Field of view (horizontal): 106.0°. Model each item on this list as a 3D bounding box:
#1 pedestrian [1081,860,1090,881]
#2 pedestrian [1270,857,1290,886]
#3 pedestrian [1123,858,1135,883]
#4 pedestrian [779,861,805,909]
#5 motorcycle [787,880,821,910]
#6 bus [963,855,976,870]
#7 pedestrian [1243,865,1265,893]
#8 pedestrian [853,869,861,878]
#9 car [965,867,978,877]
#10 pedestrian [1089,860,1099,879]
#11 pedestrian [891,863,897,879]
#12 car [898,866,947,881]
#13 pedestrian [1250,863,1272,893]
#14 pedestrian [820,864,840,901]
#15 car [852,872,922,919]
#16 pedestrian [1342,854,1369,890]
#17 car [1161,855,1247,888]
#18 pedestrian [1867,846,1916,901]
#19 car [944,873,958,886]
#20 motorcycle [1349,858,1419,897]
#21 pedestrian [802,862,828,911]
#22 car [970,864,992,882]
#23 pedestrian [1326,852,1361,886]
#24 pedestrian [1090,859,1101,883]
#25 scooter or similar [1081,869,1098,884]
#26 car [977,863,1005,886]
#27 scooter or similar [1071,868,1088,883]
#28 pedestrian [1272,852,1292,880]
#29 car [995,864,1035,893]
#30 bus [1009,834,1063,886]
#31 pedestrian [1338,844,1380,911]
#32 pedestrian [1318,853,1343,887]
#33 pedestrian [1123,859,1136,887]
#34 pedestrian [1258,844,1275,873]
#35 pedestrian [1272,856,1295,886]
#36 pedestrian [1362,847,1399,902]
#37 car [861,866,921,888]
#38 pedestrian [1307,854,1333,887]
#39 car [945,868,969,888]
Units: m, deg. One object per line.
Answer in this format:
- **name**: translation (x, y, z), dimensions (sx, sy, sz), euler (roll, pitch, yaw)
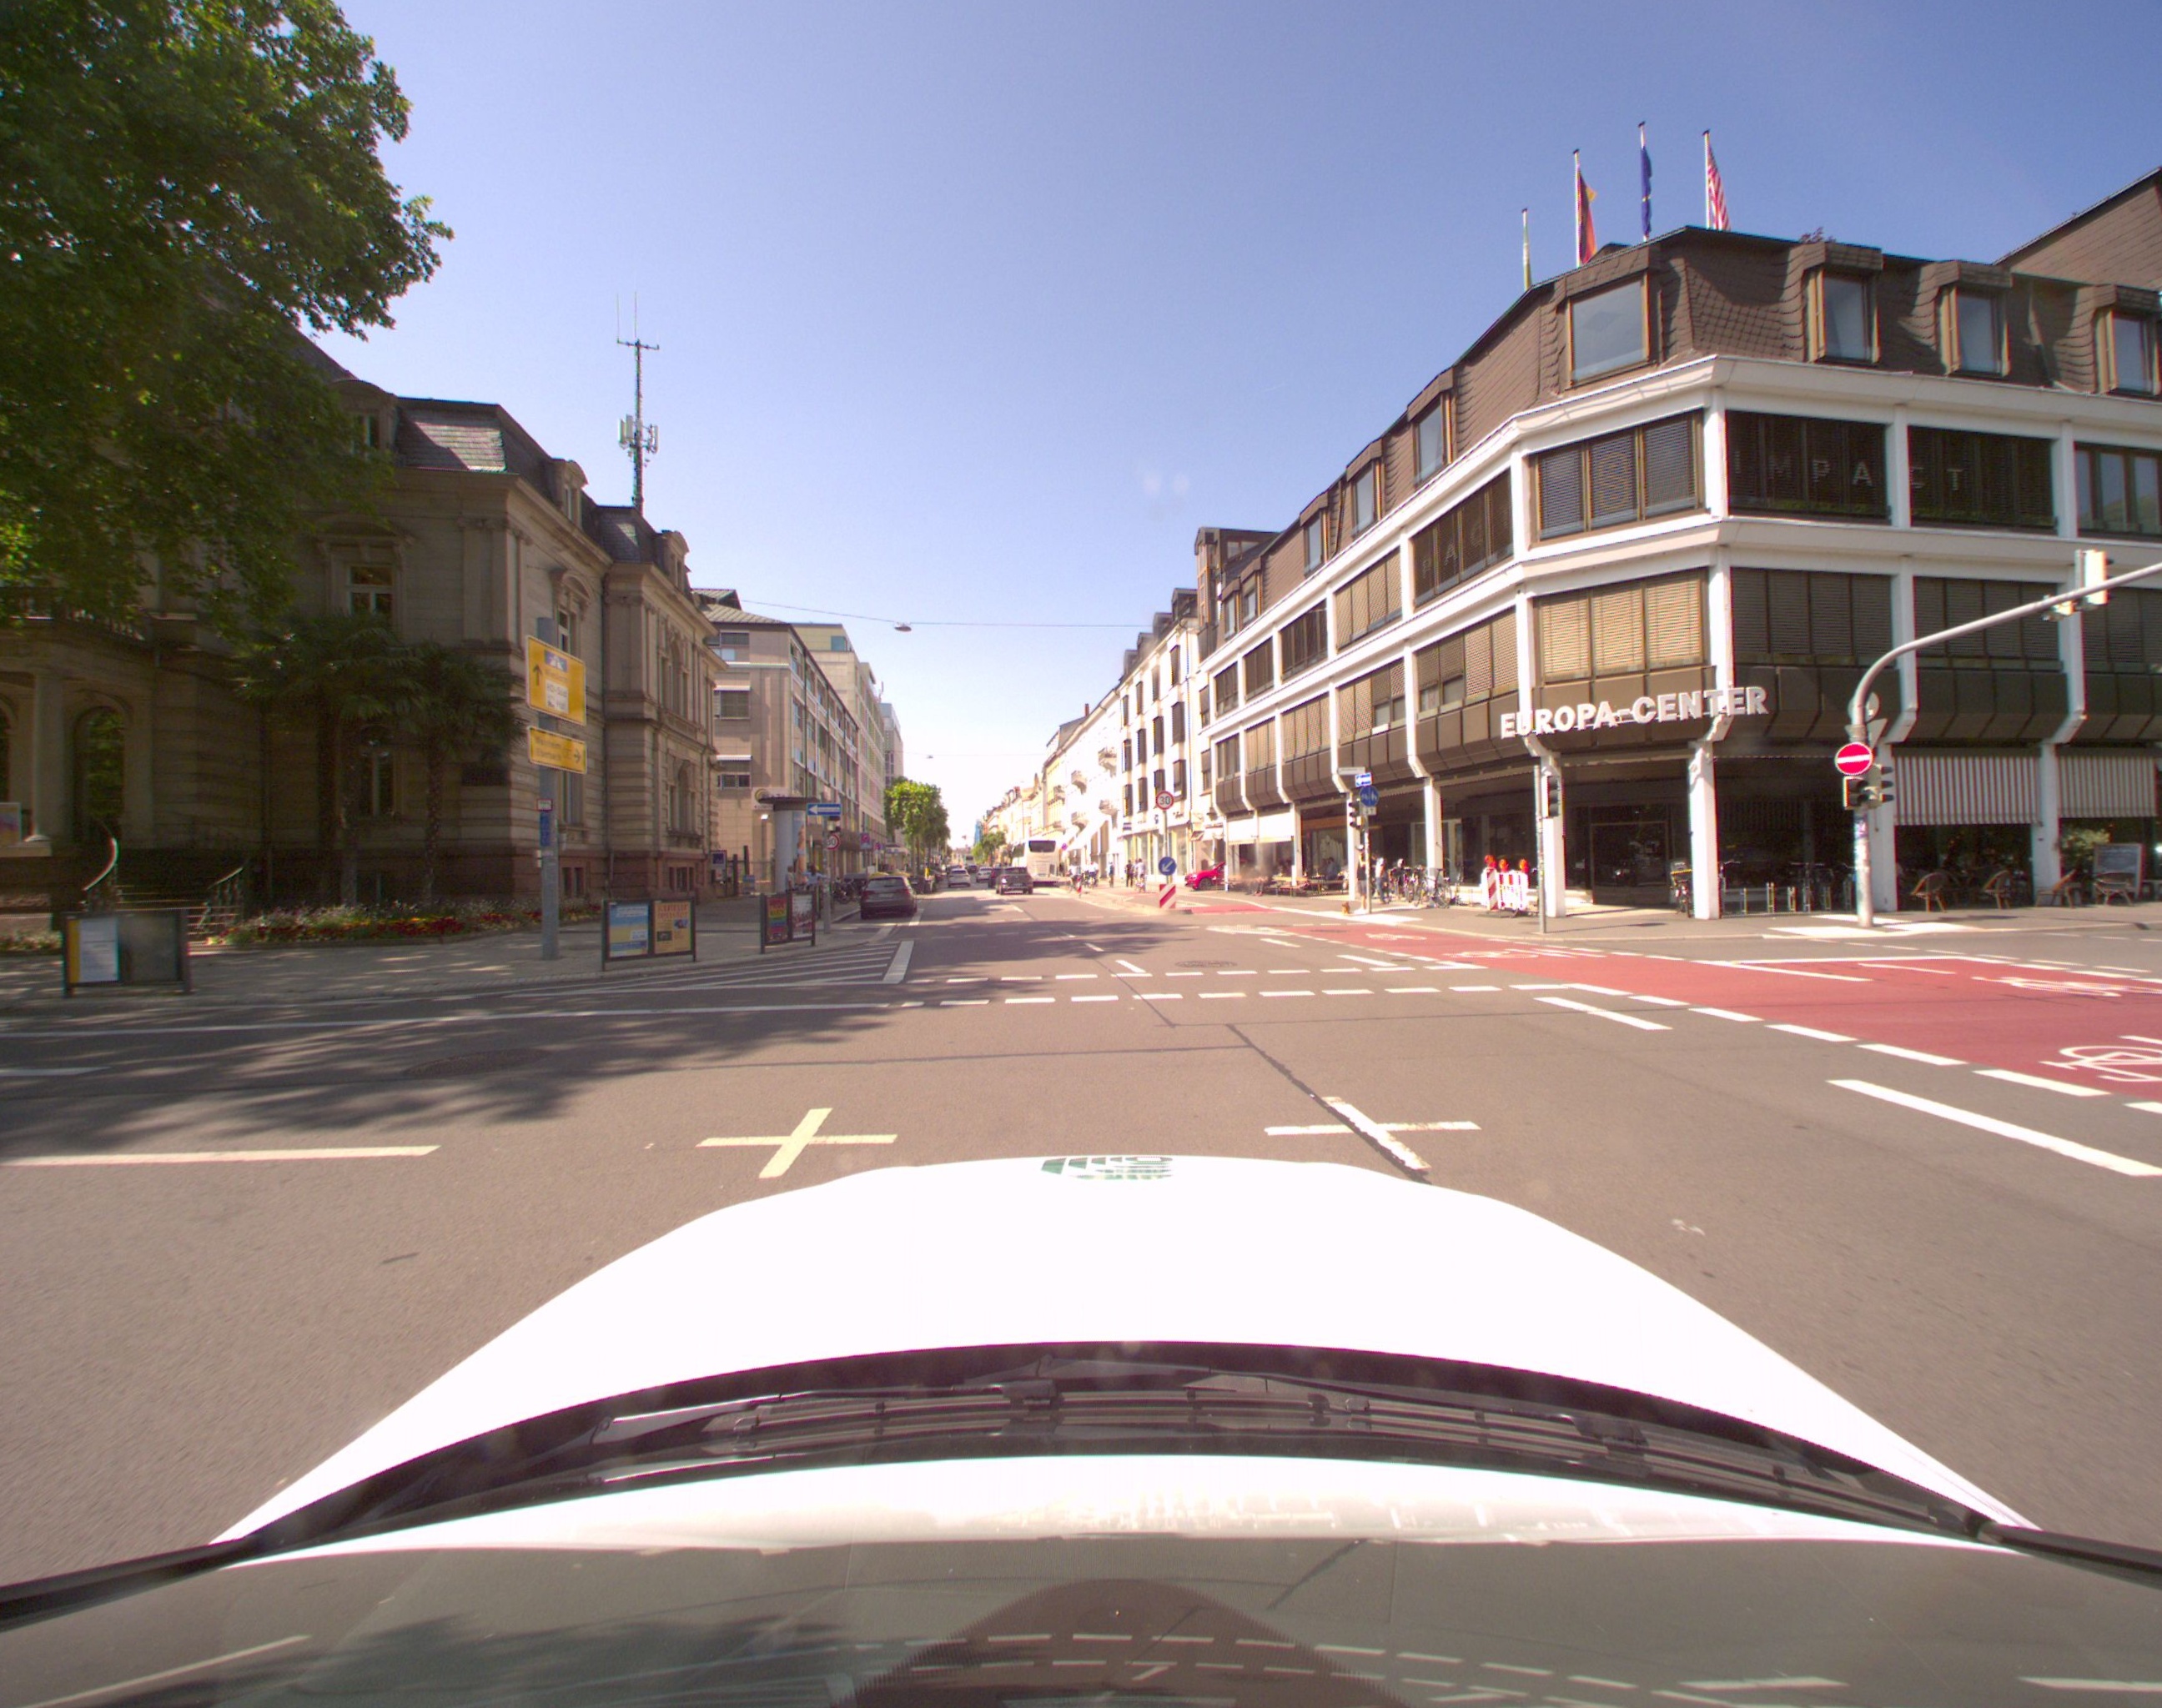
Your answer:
- **pedestrian**: translation (0.395, 1.427, 68.851), dimensions (0.573, 1.779, 1.017), euler (-1, -2, -6)
- **pedestrian**: translation (9.624, 0.829, 39.364), dimensions (0.761, 1.368, 0.476), euler (-1, -1, -11)
- **pedestrian**: translation (3.252, 1.098, 55.023), dimensions (0.692, 1.685, 0.835), euler (-2, -1, -1)
- **pedestrian**: translation (-10.349, 1.118, 29.167), dimensions (0.547, 1.665, 0.936), euler (-2, -2, -1)
- **motorcycle**: translation (-9.898, 1.458, 29.215), dimensions (0.452, 0.998, 2.160), euler (0, -1, 1)
- **bus**: translation (-29.904, 2.268, 218.104), dimensions (2.772, 3.605, 8.935), euler (-2, 0, -12)
- **pedestrian**: translation (7.451, 1.077, 35.094), dimensions (0.709, 1.173, 0.696), euler (-2, -2, -1)
- **pedestrian**: translation (-22.532, 1.961, 81.915), dimensions (0.565, 0.809, 0.772), euler (3, -1, -9)
- **car**: translation (-16.771, 2.714, 124.775), dimensions (1.863, 1.441, 3.986), euler (-2, 0, -10)
- **pedestrian**: translation (1.103, 1.312, 69.753), dimensions (0.645, 1.617, 0.820), euler (-2, -2, -7)
- **pedestrian**: translation (-20.095, 1.853, 87.537), dimensions (0.567, 1.657, 0.633), euler (-1, -1, -16)
- **car**: translation (-15.893, 1.901, 81.682), dimensions (4.736, 1.422, 1.895), euler (0, 0, 31)
- **pedestrian**: translation (7.554, 1.017, 34.247), dimensions (0.709, 1.217, 0.696), euler (-2, -2, -1)
- **pedestrian**: translation (-12.222, 1.380, 39.644), dimensions (0.891, 1.725, 0.744), euler (-1, -1, -16)
- **car**: translation (-6.700, 1.397, 28.542), dimensions (1.935, 1.354, 4.238), euler (-2, 0, -8)
- **pedestrian**: translation (10.834, 0.706, 32.202), dimensions (0.711, 1.397, 0.694), euler (-2, -2, -10)
- **car**: translation (6.414, 0.914, 42.569), dimensions (4.042, 1.495, 1.836), euler (-2, -3, -8)
- **pedestrian**: translation (20.228, 0.475, 20.340), dimensions (0.819, 1.334, 0.977), euler (-2, -1, 44)
- **car**: translation (-16.496, 3.175, 103.128), dimensions (1.743, 1.441, 3.987), euler (-2, 0, -10)
- **motorcycle**: translation (10.567, 0.830, 28.500), dimensions (2.217, 1.290, 0.953), euler (-3, -2, 18)
- **pedestrian**: translation (-9.381, 1.134, 28.756), dimensions (0.694, 1.695, 0.689), euler (-2, -2, -7)
- **car**: translation (-9.502, 1.812, 77.144), dimensions (1.833, 1.527, 3.986), euler (-3, -2, -10)
- **pedestrian**: translation (10.660, 0.621, 33.147), dimensions (0.896, 1.351, 1.101), euler (-2, -2, -10)
- **pedestrian**: translation (1.006, 1.219, 57.936), dimensions (0.620, 1.720, 0.833), euler (-1, -1, -9)
- **scooter or similar**: translation (0.576, 1.528, 54.845), dimensions (0.866, 0.957, 1.208), euler (-1, -1, -11)
- **car**: translation (-6.496, 1.484, 58.420), dimensions (1.832, 1.527, 3.988), euler (-3, -2, -8)
- **scooter or similar**: translation (-0.131, 1.666, 62.489), dimensions (1.122, 1.102, 1.081), euler (-1, -1, -11)
- **pedestrian**: translation (9.885, 0.577, 39.967), dimensions (0.744, 1.368, 0.582), euler (-1, -1, -11)
- **car**: translation (-3.717, 1.331, 45.011), dimensions (1.833, 1.527, 3.985), euler (0, -1, -10)
- **bus**: translation (-3.808, 0.487, 65.049), dimensions (2.882, 3.742, 12.382), euler (0, -1, -10)
- **pedestrian**: translation (7.784, 0.658, 22.828), dimensions (0.830, 1.836, 0.696), euler (-2, -2, -1)
- **pedestrian**: translation (10.493, 0.694, 34.275), dimensions (0.711, 1.397, 0.694), euler (-2, -2, -10)
- **pedestrian**: translation (3.022, 1.197, 51.093), dimensions (0.619, 1.720, 0.833), euler (-2, -1, -7)
- **pedestrian**: translation (9.072, 0.212, 39.859), dimensions (0.535, 1.368, 0.687), euler (-1, -1, -9)
- **pedestrian**: translation (9.663, 0.812, 38.900), dimensions (0.877, 1.368, 0.535), euler (-1, -1, -11)
- **pedestrian**: translation (9.413, 0.642, 25.644), dimensions (0.830, 1.663, 0.696), euler (-2, -2, -1)
- **car**: translation (-13.802, 1.673, 59.229), dimensions (4.006, 1.494, 1.948), euler (-1, 0, 32)
- **pedestrian**: translation (10.294, 0.698, 35.093), dimensions (0.813, 1.397, 0.694), euler (-1, -2, -11)
- **car**: translation (-9.919, 1.877, 65.171), dimensions (1.862, 1.441, 3.988), euler (-2, 0, -9)
